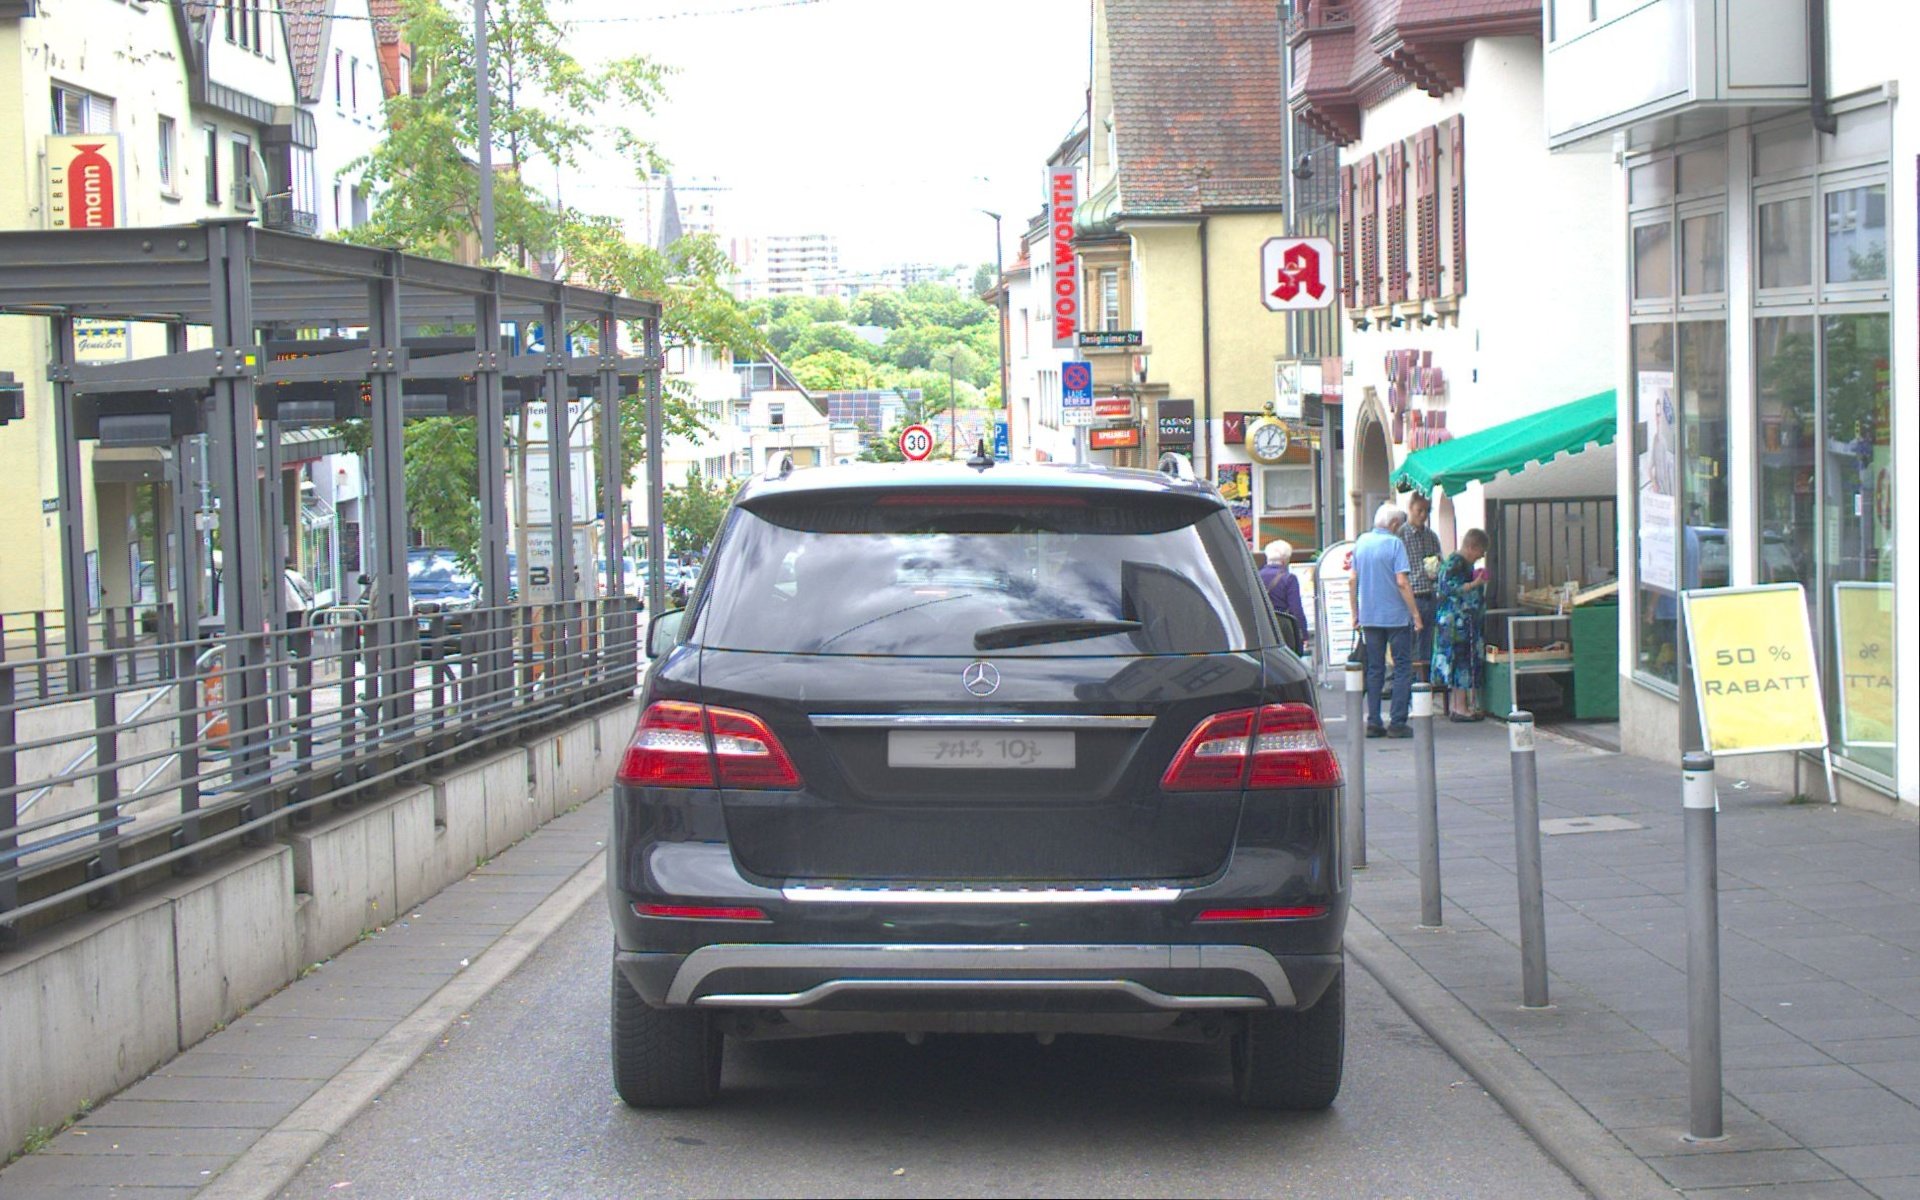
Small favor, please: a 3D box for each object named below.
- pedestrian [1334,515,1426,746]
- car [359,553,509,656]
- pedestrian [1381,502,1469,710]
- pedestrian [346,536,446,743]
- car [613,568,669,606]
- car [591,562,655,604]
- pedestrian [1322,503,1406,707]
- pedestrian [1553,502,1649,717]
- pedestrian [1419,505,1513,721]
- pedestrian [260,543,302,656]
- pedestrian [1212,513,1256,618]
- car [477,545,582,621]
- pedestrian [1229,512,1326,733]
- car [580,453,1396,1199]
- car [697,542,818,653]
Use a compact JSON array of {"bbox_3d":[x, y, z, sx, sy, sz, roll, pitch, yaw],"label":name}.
[{"bbox_3d":[3.181,0.227,26.063,0.542,1.720,0.528,-2,1,-6],"label":"pedestrian"},{"bbox_3d":[-8.022,0.042,52.713,1.689,1.485,3.979,1,1,0],"label":"car"},{"bbox_3d":[3.818,0.047,28.243,0.573,1.683,0.566,1,1,-6],"label":"pedestrian"},{"bbox_3d":[-4.667,0.317,28.475,0.765,1.683,0.727,1,1,-7],"label":"pedestrian"},{"bbox_3d":[-9.623,-0.411,103.947,1.388,1.066,3.113,-2,1,0],"label":"car"},{"bbox_3d":[-9.056,-0.473,92.499,1.388,1.066,3.113,-2,1,0],"label":"car"},{"bbox_3d":[3.615,0.041,30.801,0.639,1.803,0.685,1,1,-1],"label":"pedestrian"},{"bbox_3d":[5.112,0.071,27.437,0.573,1.683,0.566,-2,1,-6],"label":"pedestrian"},{"bbox_3d":[4.016,0.099,27.298,0.573,1.683,0.566,-2,1,-6],"label":"pedestrian"},{"bbox_3d":[-10.214,-0.010,51.719,0.513,1.683,0.541,1,1,-1],"label":"pedestrian"},{"bbox_3d":[4.441,-0.563,55.701,0.606,1.683,0.724,-2,1,-1],"label":"pedestrian"},{"bbox_3d":[-8.725,-0.360,69.846,1.660,1.485,3.748,1,1,0],"label":"car"},{"bbox_3d":[2.455,0.168,26.587,0.621,1.683,0.566,1,1,-6],"label":"pedestrian"},{"bbox_3d":[-0.007,0.503,10.092,1.900,1.741,4.000,1,1,-2],"label":"car"},{"bbox_3d":[-3.255,-0.073,55.944,1.770,1.707,4.000,1,1,-1],"label":"car"}]
